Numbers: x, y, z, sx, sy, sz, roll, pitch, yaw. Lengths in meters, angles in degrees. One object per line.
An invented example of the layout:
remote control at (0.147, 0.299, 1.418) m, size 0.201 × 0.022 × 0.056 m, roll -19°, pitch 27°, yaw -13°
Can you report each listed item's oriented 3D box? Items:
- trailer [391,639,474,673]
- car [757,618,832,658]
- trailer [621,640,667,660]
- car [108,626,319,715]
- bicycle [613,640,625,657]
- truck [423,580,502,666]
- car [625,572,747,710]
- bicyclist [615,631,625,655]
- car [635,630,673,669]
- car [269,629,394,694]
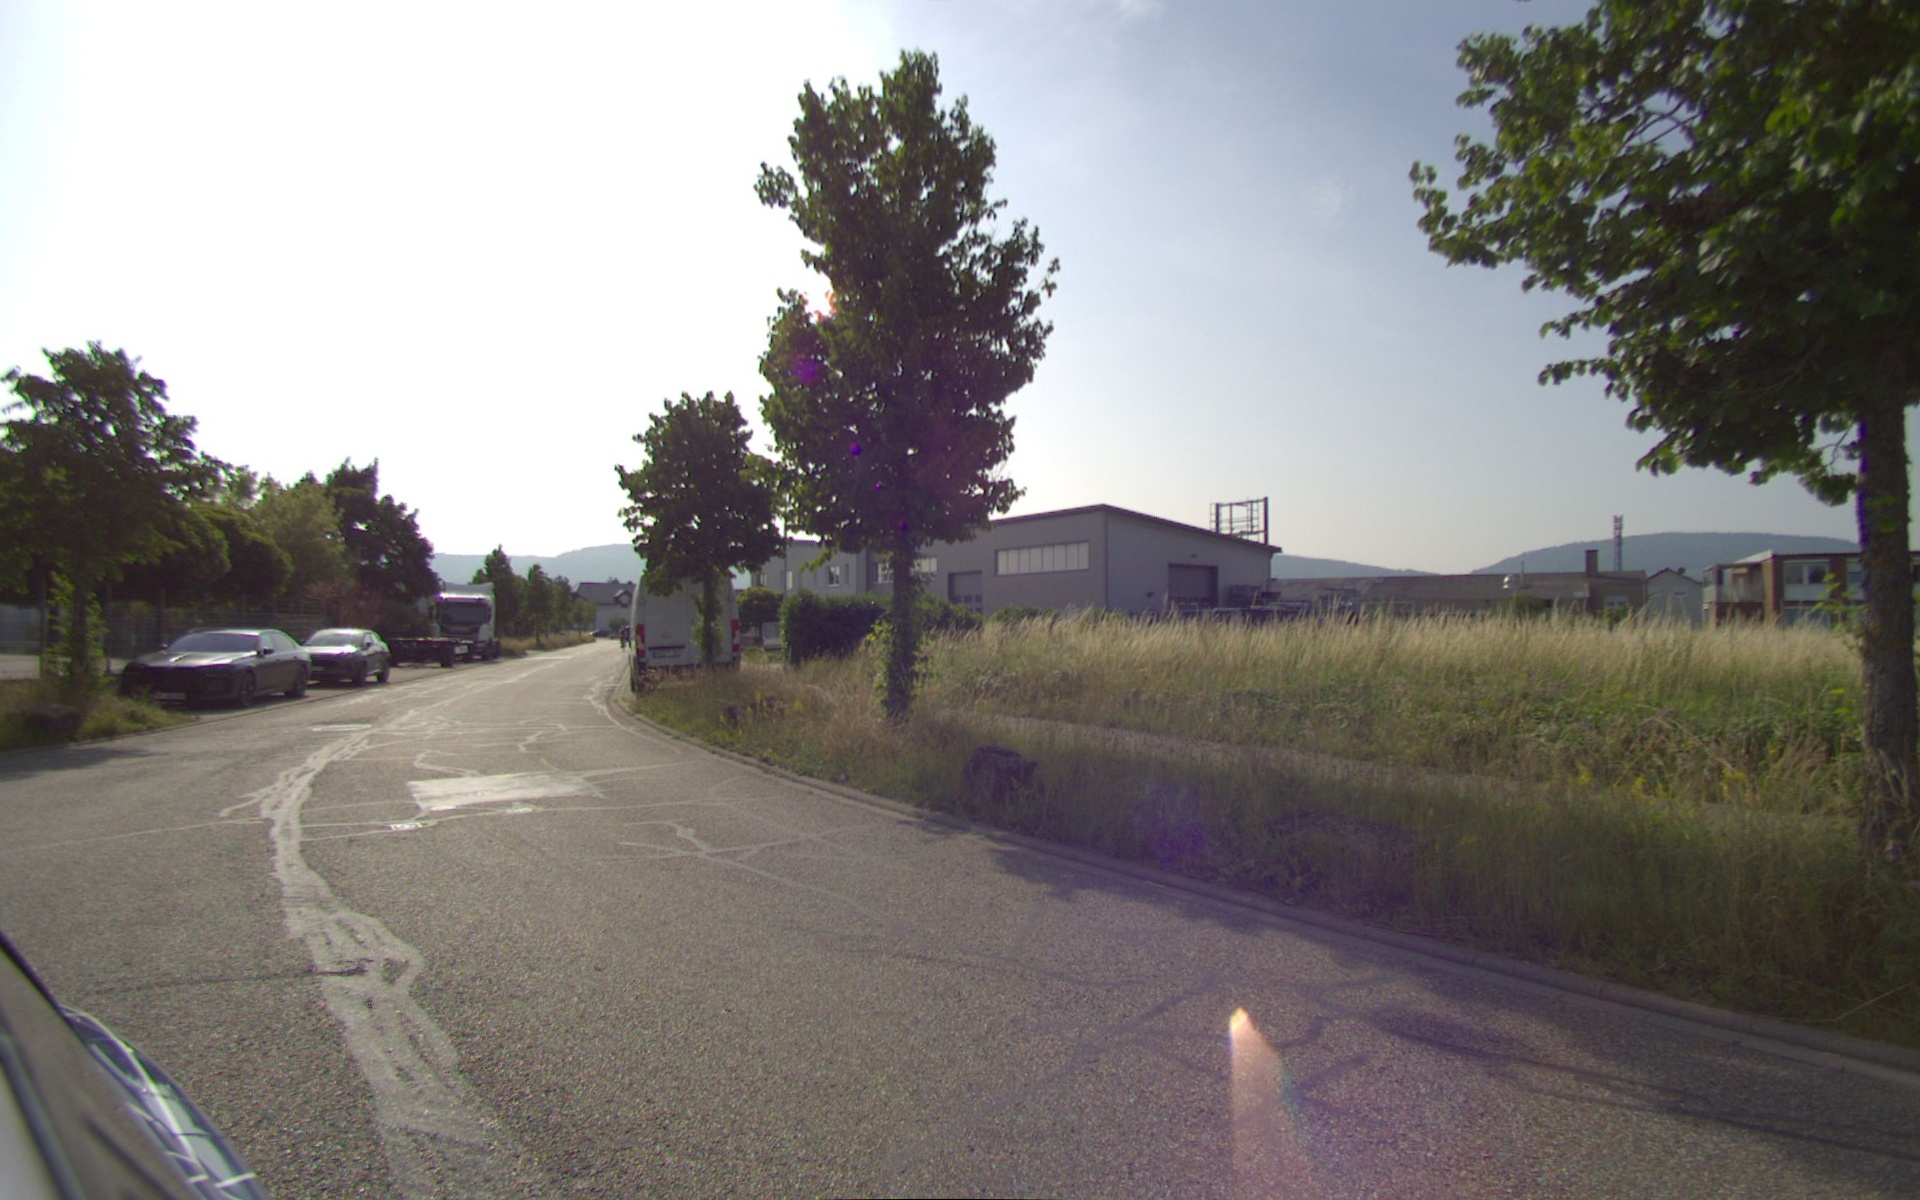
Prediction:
trailer at (-22.352, 2.333, 43.172) m, size 1.911 × 1.245 × 7.473 m, roll 2°, pitch -3°, yaw -18°
car at (-7.306, 1.661, 44.513) m, size 1.808 × 1.584 × 3.826 m, roll -1°, pitch -1°, yaw -34°
trailer at (-19.788, 3.091, 63.489) m, size 2.511 × 1.082 × 9.760 m, roll -1°, pitch -2°, yaw -17°
car at (-15.230, 1.371, 21.034) m, size 1.854 × 1.586 × 5.133 m, roll 2°, pitch -2°, yaw -17°
bicycle at (-24.234, 3.464, 72.008) m, size 0.706 × 1.131 × 2.226 m, roll 3°, pitch -3°, yaw -17°
truck at (-24.962, 1.198, 51.076) m, size 2.654 × 3.994 × 6.066 m, roll 3°, pitch -3°, yaw -19°
car at (-6.277, 0.870, 22.564) m, size 2.072 × 2.615 × 6.524 m, roll 0°, pitch -2°, yaw -20°
bicyclist at (-24.199, 3.063, 71.939) m, size 0.630 × 1.732 × 1.169 m, roll 0°, pitch -2°, yaw -17°
car at (-13.914, 2.222, 46.021) m, size 1.575 × 1.663 × 3.655 m, roll -1°, pitch -2°, yaw -17°
car at (-17.190, 1.629, 27.907) m, size 1.854 × 1.586 × 4.125 m, roll 3°, pitch -2°, yaw -17°
